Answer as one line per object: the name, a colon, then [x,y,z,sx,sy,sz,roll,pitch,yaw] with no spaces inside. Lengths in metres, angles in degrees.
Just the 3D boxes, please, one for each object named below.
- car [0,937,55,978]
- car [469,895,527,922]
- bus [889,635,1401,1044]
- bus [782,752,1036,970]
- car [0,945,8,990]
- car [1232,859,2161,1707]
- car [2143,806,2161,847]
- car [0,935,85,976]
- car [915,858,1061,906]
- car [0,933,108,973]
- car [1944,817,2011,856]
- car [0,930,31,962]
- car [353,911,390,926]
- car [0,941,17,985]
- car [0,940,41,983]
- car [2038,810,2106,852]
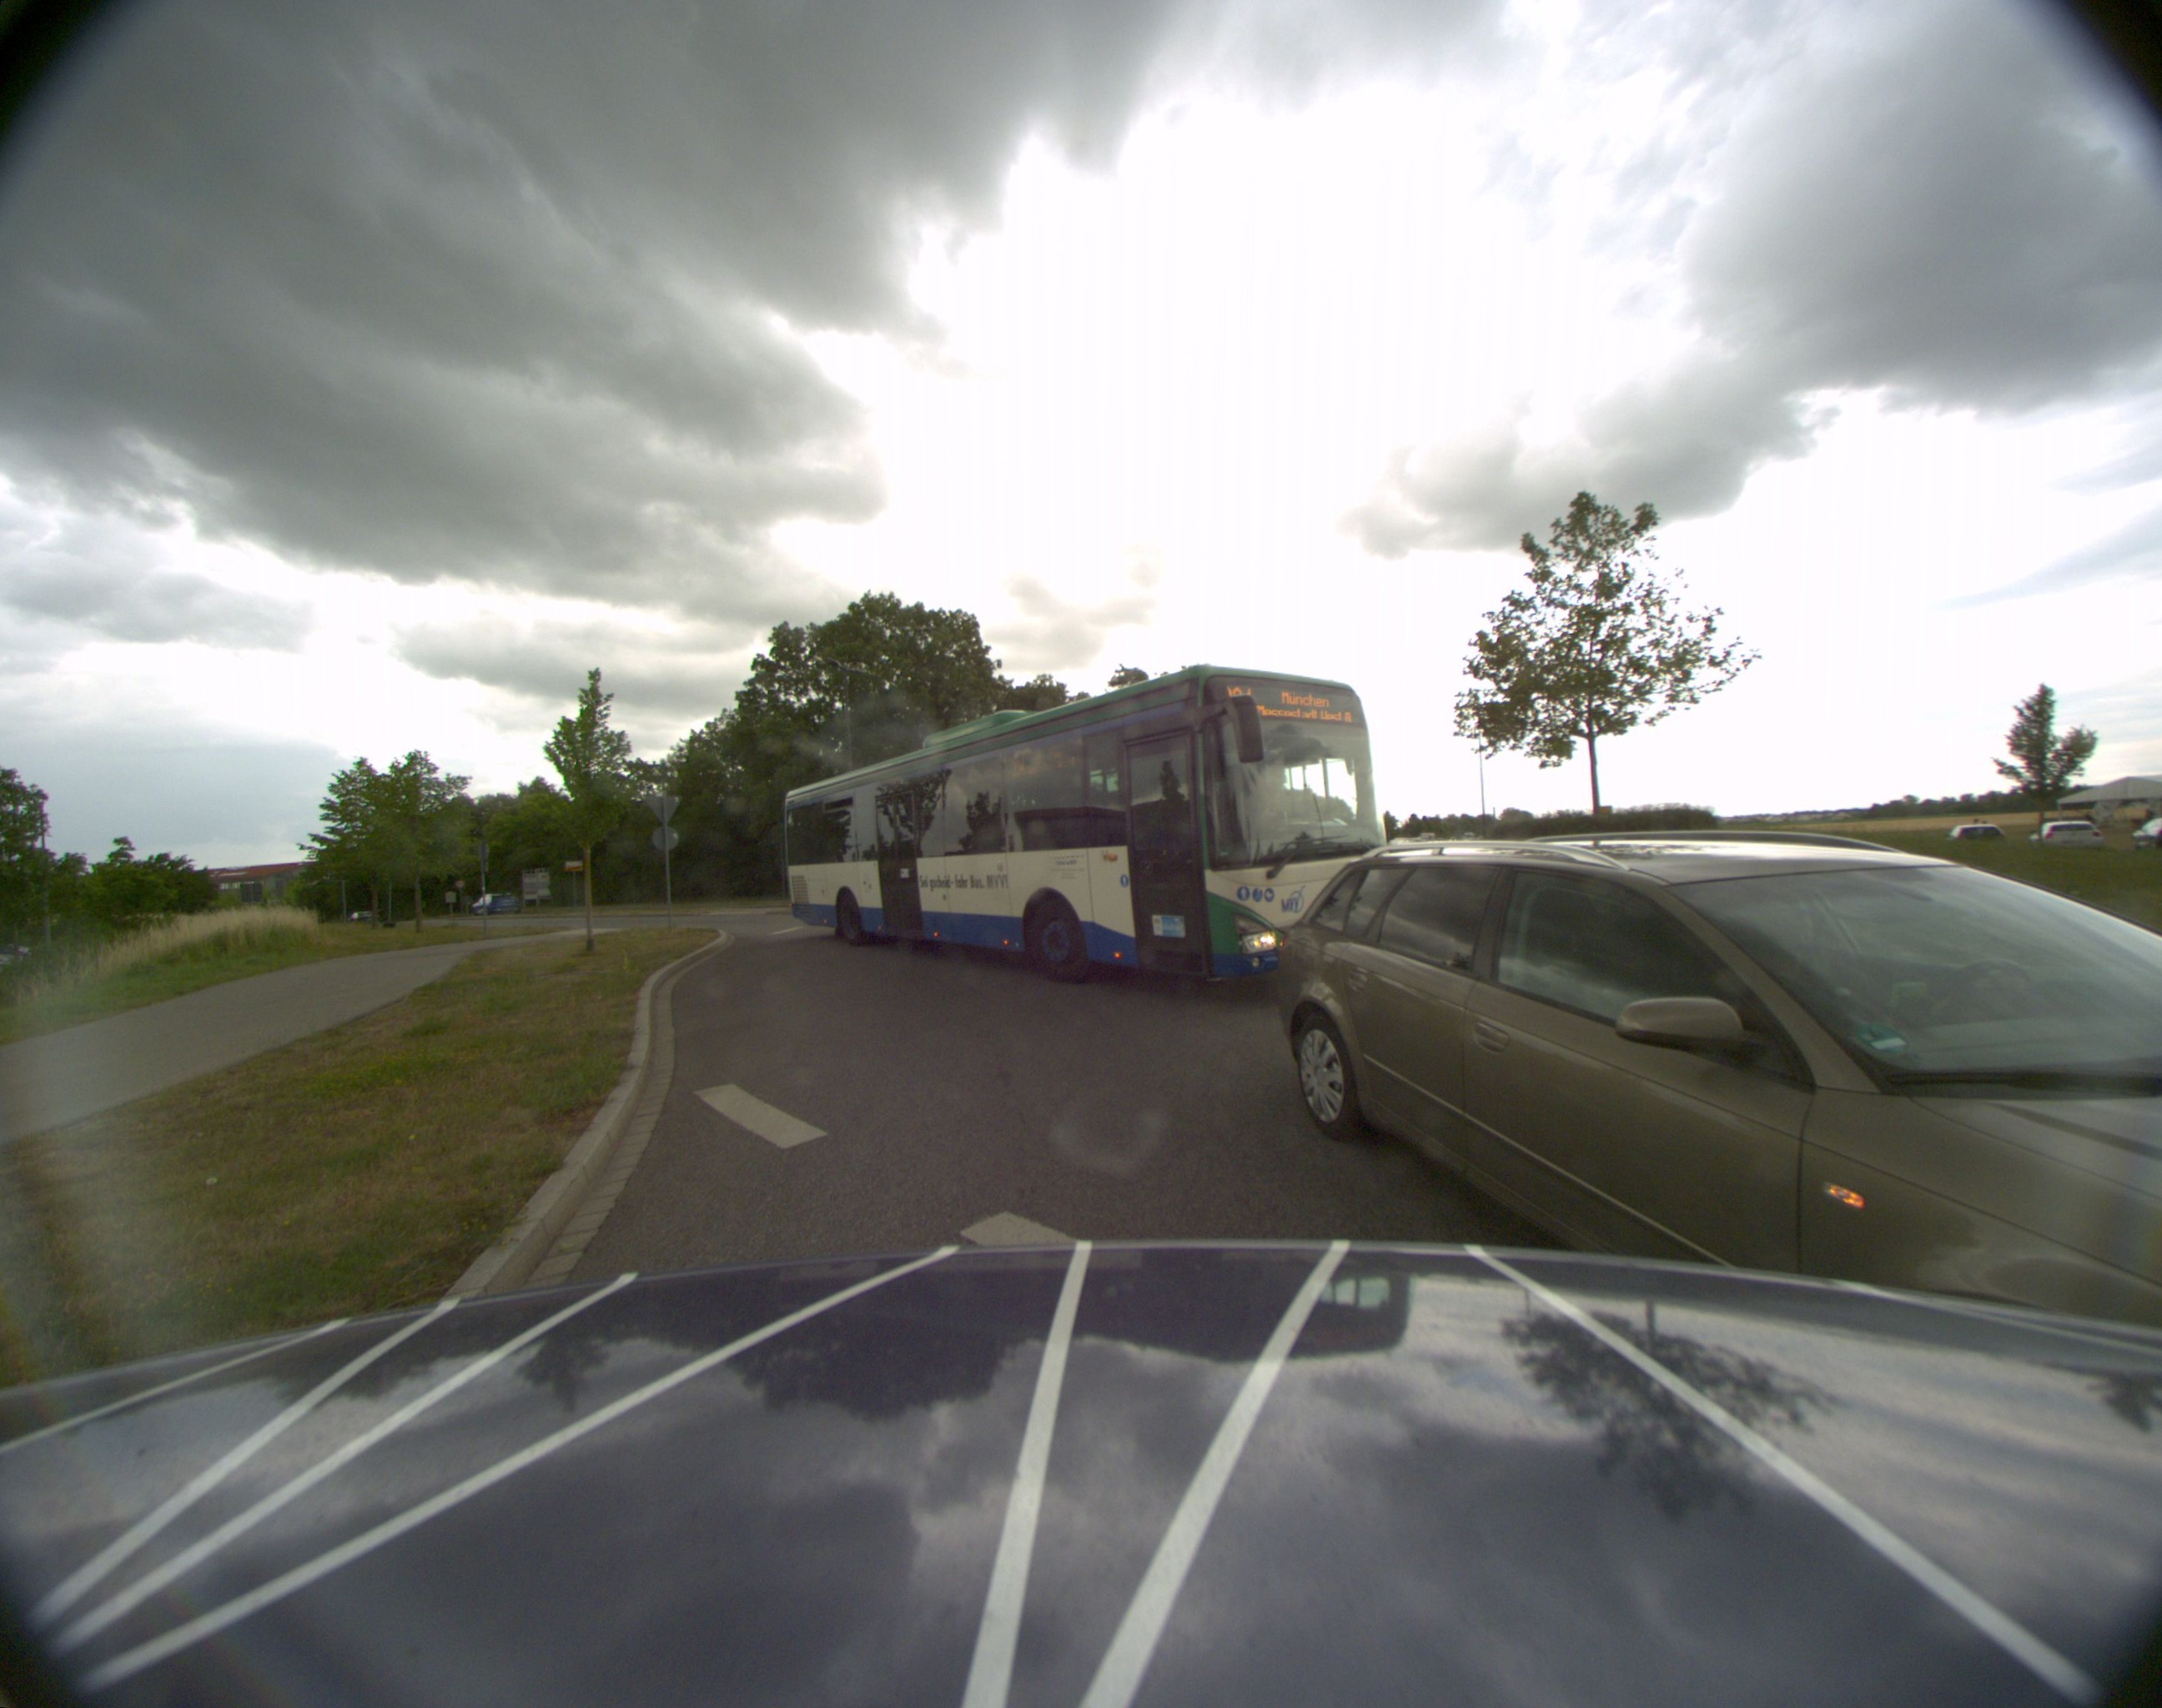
car: [-44.218,4.275,30.117,3.896,1.455,1.693,-3,0,-42]
car: [-38.416,3.609,50.064,4.072,1.422,1.766,-6,0,35]
bus: [0.182,-0.129,9.387,2.529,3.239,6.531,-3,1,-37]
bus: [-3.448,0.075,14.212,2.529,3.239,5.446,-3,1,-37]
car: [-37.004,3.824,23.609,3.896,1.455,1.693,-3,0,-42]
car: [2.154,0.801,2.444,1.783,1.456,4.537,-3,0,-8]
car: [47.126,-1.257,32.583,4.006,1.544,1.712,-5,0,-36]
car: [-46.713,4.502,32.986,3.896,1.455,1.693,-3,0,-42]
car: [-3.641,1.051,29.660,5.289,1.489,1.970,-3,0,-18]
car: [-49.373,4.720,35.894,3.896,1.455,1.693,-3,0,-42]
car: [43.239,-0.857,36.629,4.006,1.544,1.712,-5,0,-36]
car: [-53.265,4.554,35.974,1.879,1.435,4.007,-3,0,34]
car: [-68.371,6.180,73.193,4.104,1.299,1.834,-3,-1,36]
car: [-39.739,3.952,25.764,3.896,1.455,1.693,-3,0,-42]
car: [-41.902,4.175,27.996,3.896,1.455,1.693,-3,0,-42]
car: [45.246,-1.063,34.667,4.006,1.544,1.712,-5,0,-36]
